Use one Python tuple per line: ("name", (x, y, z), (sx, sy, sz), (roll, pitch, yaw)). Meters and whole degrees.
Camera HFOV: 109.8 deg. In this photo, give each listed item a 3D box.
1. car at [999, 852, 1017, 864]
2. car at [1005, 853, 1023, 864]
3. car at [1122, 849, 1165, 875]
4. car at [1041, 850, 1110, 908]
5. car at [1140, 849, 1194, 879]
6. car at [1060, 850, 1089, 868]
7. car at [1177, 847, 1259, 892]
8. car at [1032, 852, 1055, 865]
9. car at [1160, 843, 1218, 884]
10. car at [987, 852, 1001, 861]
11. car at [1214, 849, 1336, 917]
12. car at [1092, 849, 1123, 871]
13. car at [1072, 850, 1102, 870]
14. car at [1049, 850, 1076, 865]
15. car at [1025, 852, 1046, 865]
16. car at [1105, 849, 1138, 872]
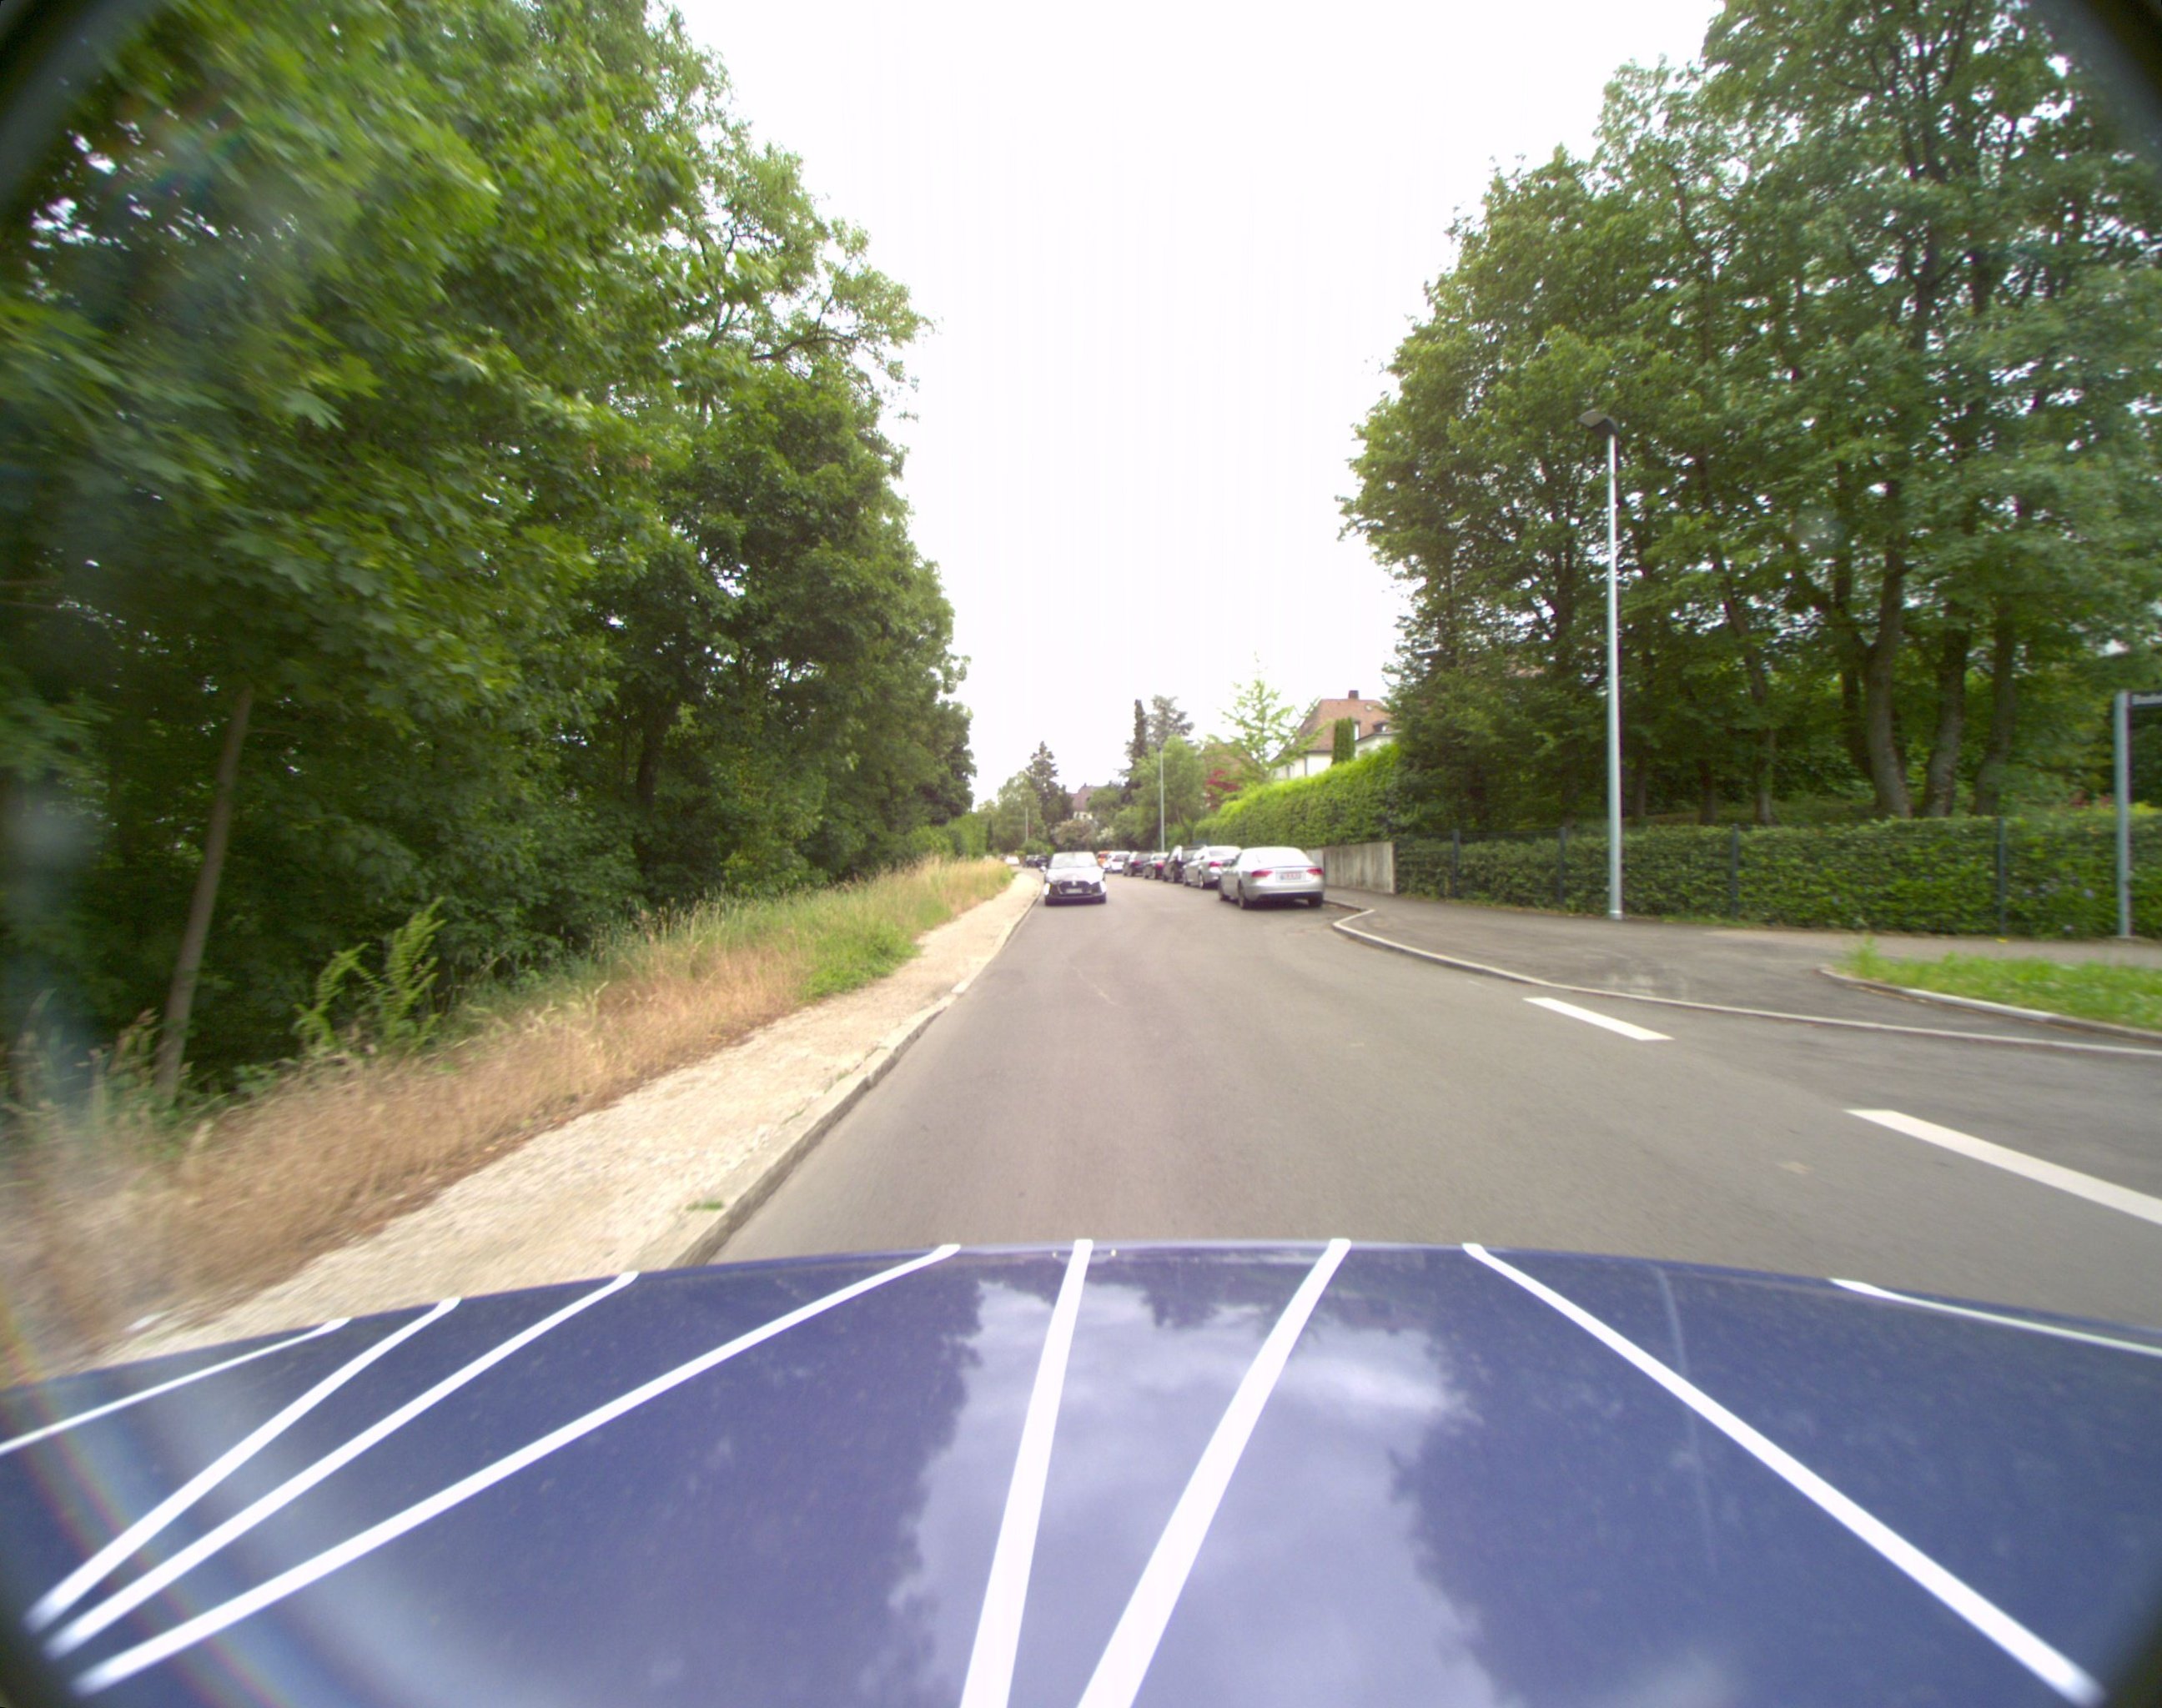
("car", (-10.498, 0.551, 109.118), (1.798, 1.654, 4.385), (-2, 1, -15))
("car", (-9.232, 0.595, 104.827), (1.713, 1.502, 3.941), (-2, 1, -15))
("car", (3.559, 0.420, 43.992), (1.723, 1.377, 4.661), (-2, 0, -5))
("car", (-0.057, 0.653, 22.088), (1.711, 1.466, 4.195), (-2, 0, 3))
("car", (4.204, 0.476, 37.858), (1.716, 1.333, 4.105), (-3, 1, -7))
("car", (-0.653, 0.467, 69.549), (1.713, 1.505, 4.490), (-2, 1, -12))
("car", (4.701, 0.485, 26.749), (1.780, 1.366, 4.338), (-3, 1, -4))
("car", (-4.269, 0.490, 85.896), (1.713, 1.408, 4.126), (-2, 1, -15))
("car", (4.501, 0.356, 32.290), (1.661, 1.524, 4.473), (-3, 1, -2))
("car", (-14.253, 0.411, 124.267), (1.713, 1.502, 4.549), (-2, 1, -13))
("car", (4.525, 0.613, 18.414), (1.836, 1.366, 4.445), (-3, 1, 1))
("car", (1.958, 0.437, 56.550), (1.549, 1.506, 3.640), (-2, 1, -10))
("car", (0.490, 0.488, 64.400), (1.712, 1.505, 4.359), (-2, 1, -10))
("car", (-1.816, 0.365, 74.346), (1.713, 1.402, 4.155), (-2, 1, -15))
("car", (-5.429, 0.522, 90.549), (1.713, 1.408, 4.144), (-2, 1, -15))
("car", (2.719, 0.420, 51.861), (1.593, 1.506, 3.587), (-2, 1, -8))
